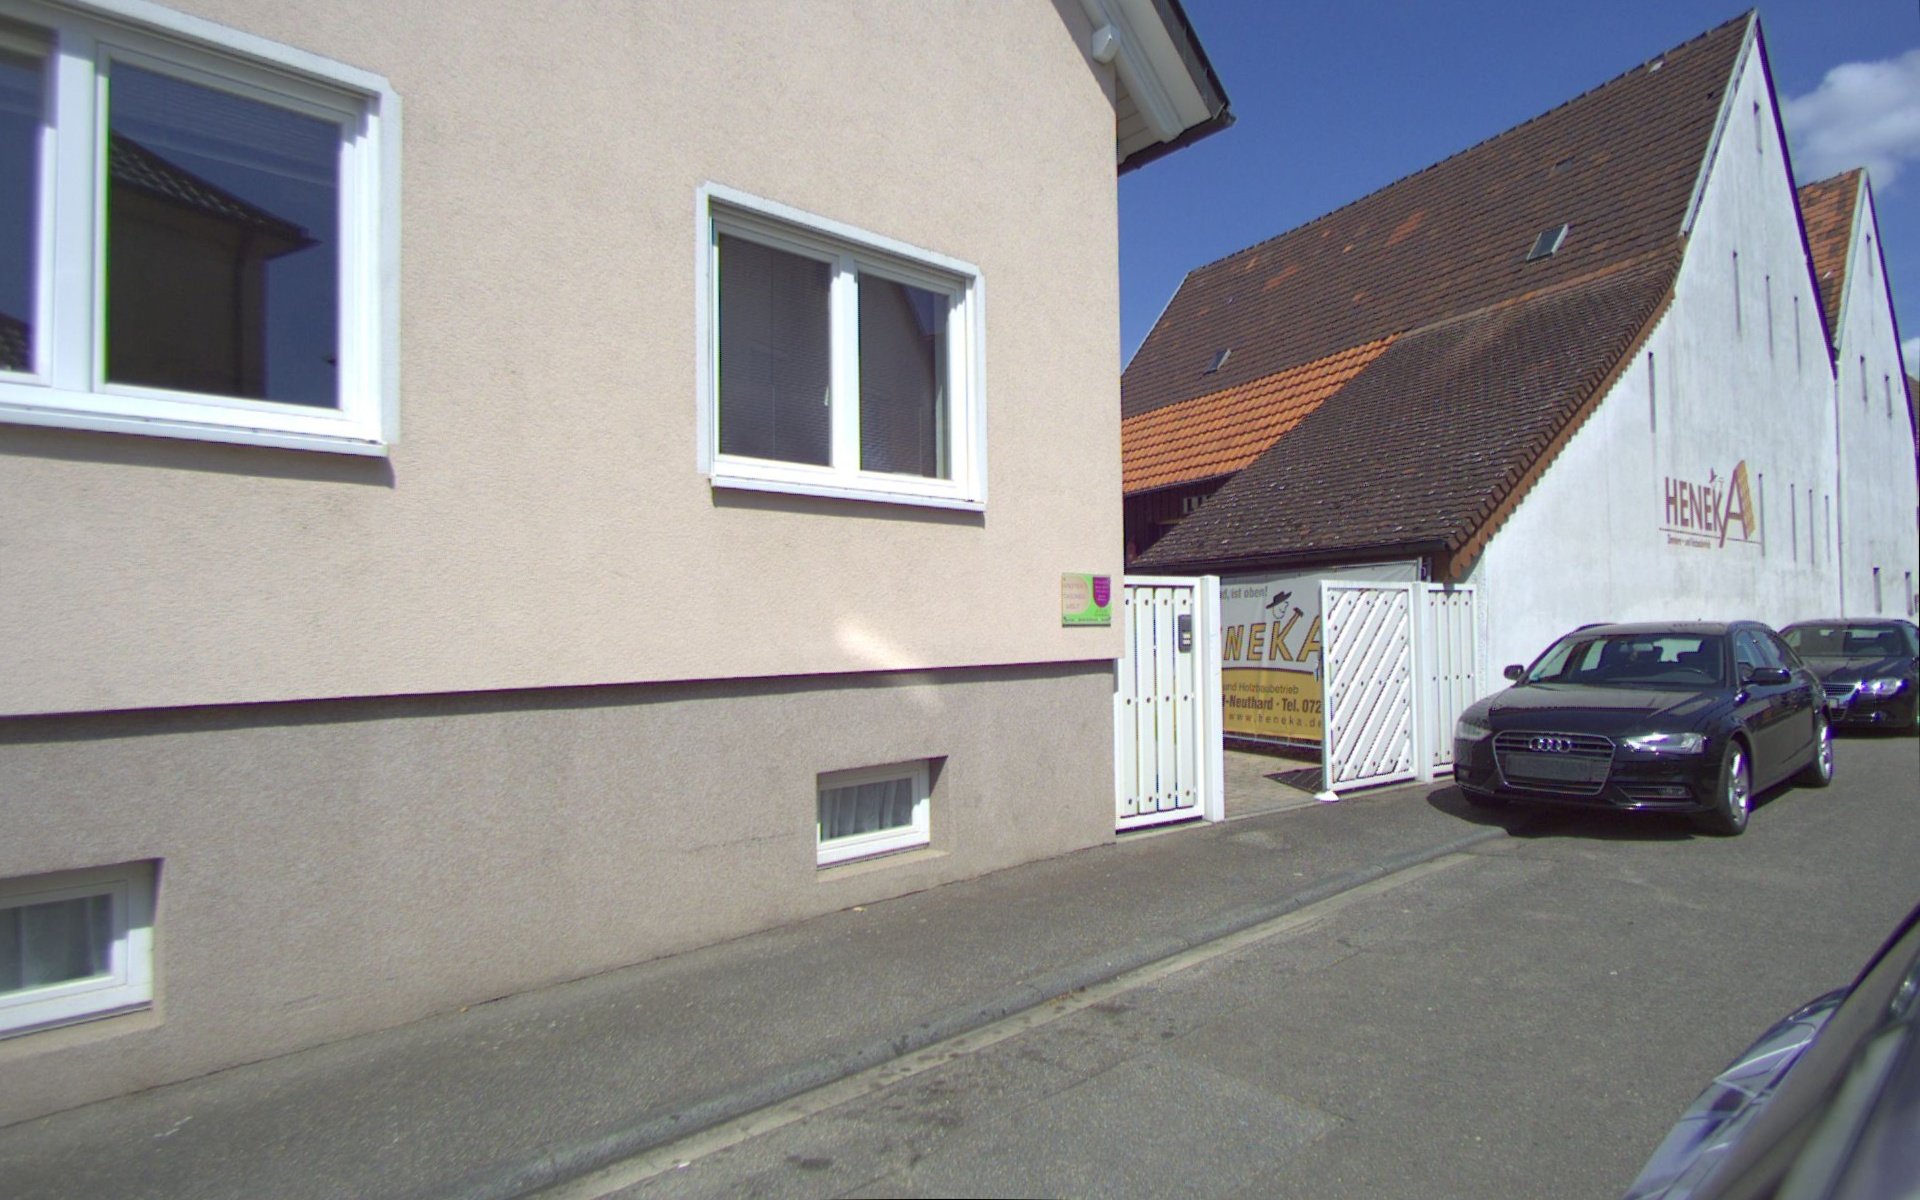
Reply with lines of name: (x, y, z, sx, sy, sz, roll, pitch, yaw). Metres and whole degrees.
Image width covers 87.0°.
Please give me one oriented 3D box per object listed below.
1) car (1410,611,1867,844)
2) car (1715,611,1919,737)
car: (5.813, 0.821, 8.419, 4.653, 1.383, 1.899, 0, -2, -40)
car: (11.899, 0.864, 13.448, 4.333, 1.383, 1.900, 0, -2, -38)
